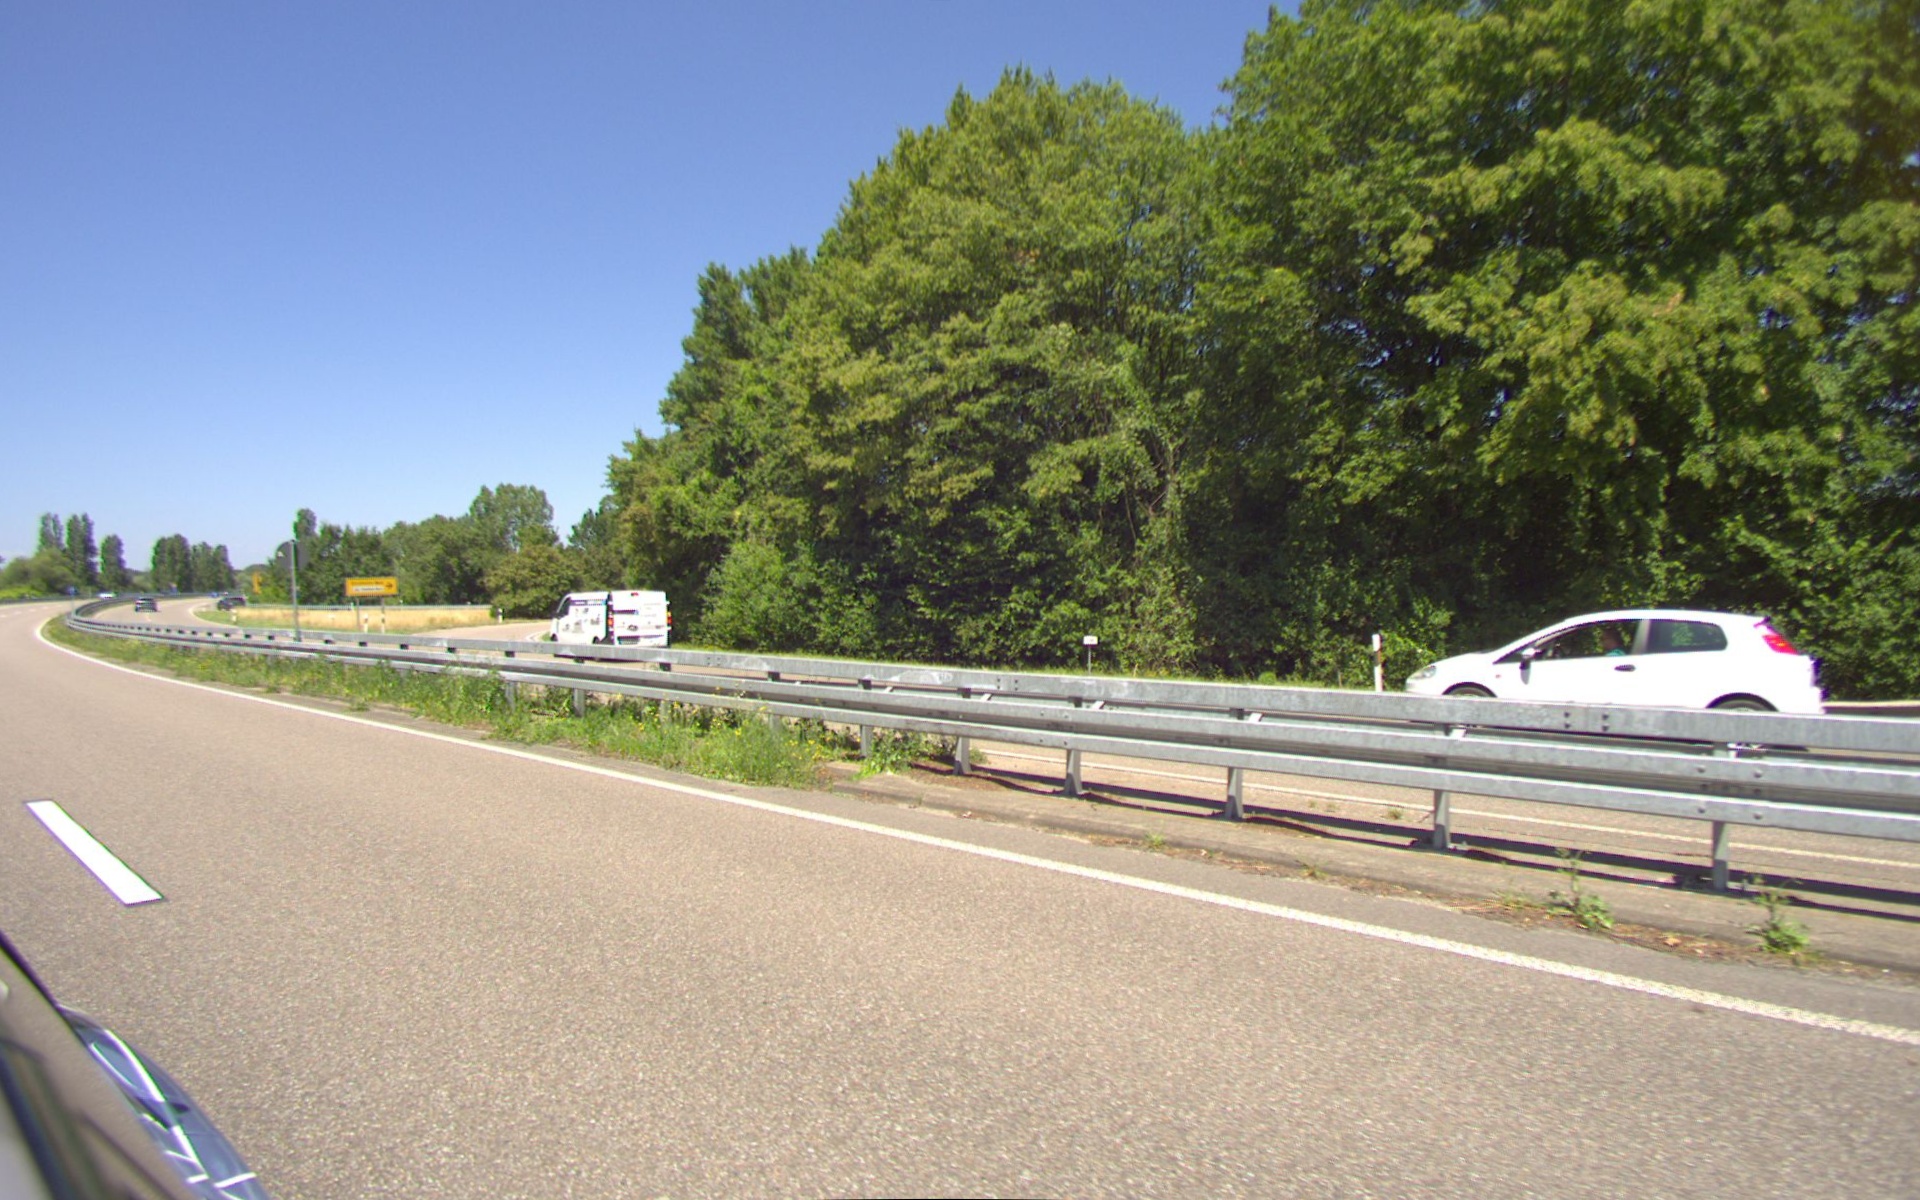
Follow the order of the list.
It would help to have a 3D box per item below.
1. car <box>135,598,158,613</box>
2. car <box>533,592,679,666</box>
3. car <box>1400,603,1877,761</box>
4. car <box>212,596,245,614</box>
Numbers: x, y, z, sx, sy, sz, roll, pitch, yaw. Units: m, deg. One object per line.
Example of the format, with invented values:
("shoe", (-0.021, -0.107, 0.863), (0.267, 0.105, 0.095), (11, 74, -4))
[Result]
("car", (-91.326, 0.678, 113.656), (1.800, 1.630, 4.550), (1, -1, -37))
("car", (-10.373, 0.805, 29.340), (1.965, 1.966, 5.646), (1, -1, -42))
("car", (7.386, 0.787, 11.354), (4.217, 1.458, 1.634), (-1, -1, 41))
("car", (-87.070, 0.636, 120.480), (3.990, 2.028, 1.977), (0, 2, 35))
